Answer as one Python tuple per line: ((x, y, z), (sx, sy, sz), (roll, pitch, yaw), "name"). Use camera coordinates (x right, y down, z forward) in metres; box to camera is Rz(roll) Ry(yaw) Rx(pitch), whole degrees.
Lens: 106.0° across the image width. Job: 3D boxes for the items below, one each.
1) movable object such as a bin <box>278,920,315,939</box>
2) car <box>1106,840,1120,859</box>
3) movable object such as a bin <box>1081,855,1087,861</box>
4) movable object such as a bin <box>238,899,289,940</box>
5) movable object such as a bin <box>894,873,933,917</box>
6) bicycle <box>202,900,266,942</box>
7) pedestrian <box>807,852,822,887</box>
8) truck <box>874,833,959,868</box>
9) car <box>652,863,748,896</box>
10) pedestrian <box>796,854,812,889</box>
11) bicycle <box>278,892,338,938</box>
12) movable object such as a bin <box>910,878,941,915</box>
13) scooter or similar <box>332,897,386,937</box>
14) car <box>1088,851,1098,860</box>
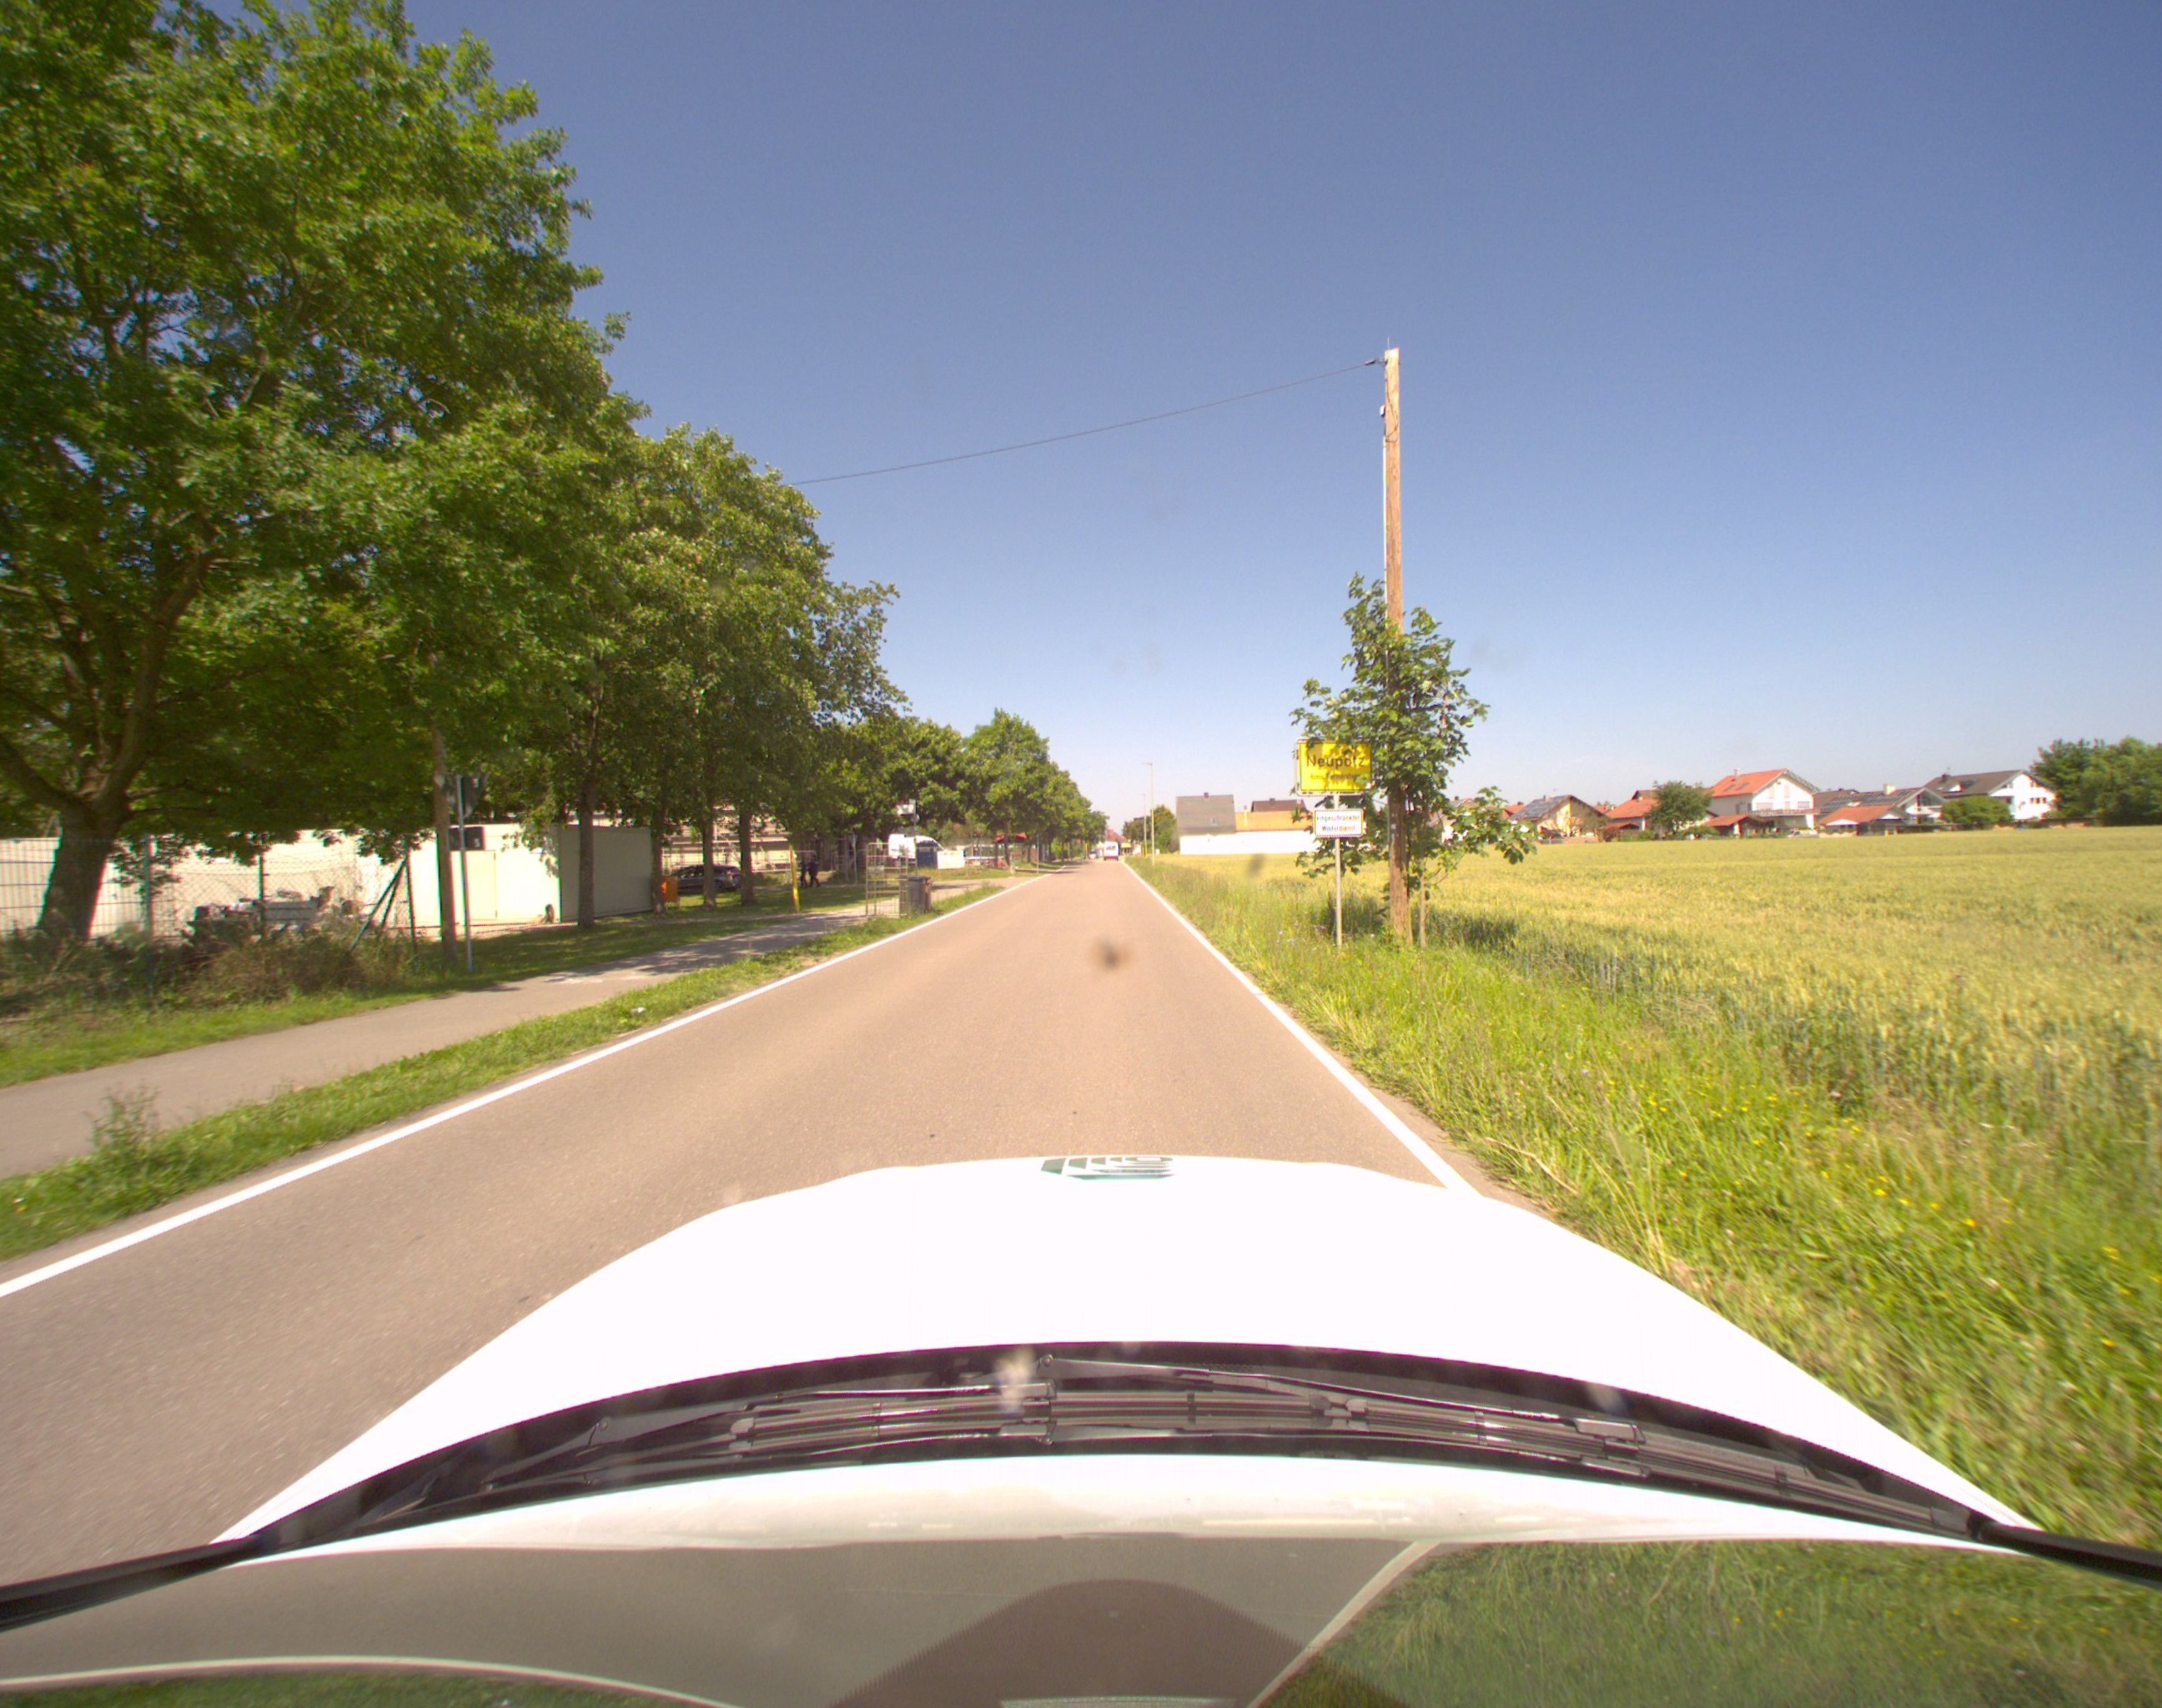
((-21.130, 2.028, 21.929), (0.666, 0.462, 0.297), (-2, 0, -3), "movable object such as a bin")
((4.408, -0.564, 111.355), (1.731, 2.432, 4.377), (-2, 0, 3), "car")
((0.516, 0.707, 140.620), (0.706, 1.079, 0.644), (-2, -1, 29), "movable object such as a bin")
((-22.160, 1.767, 22.084), (0.692, 1.013, 0.663), (-2, 0, -2), "movable object such as a bin")
((-4.114, 1.004, 20.042), (0.694, 1.024, 0.750), (-2, 0, 9), "movable object such as a bin")
((-23.664, 1.856, 22.762), (1.236, 1.082, 0.506), (-2, 0, 0), "bicycle")
((-13.819, 0.800, 42.237), (0.603, 1.751, 0.585), (-2, 0, -8), "pedestrian")
((-12.342, -0.283, 61.433), (5.957, 2.483, 1.978), (-1, -1, -35), "truck")
((-18.495, 1.227, 39.650), (3.794, 1.399, 1.756), (-2, 0, -6), "car")
((-14.109, 0.868, 41.541), (0.603, 1.751, 0.585), (-2, 0, -8), "pedestrian")
((-21.924, 1.720, 23.092), (1.236, 1.213, 0.423), (-2, 0, -1), "bicycle")
((-3.942, 1.077, 20.729), (0.559, 0.877, 0.615), (-2, 0, 9), "movable object such as a bin")
((-19.156, 1.661, 21.608), (0.892, 0.997, 0.533), (-2, 0, -4), "scooter or similar")
((2.117, 0.326, 146.064), (1.641, 1.423, 4.082), (-4, 0, 2), "car")
